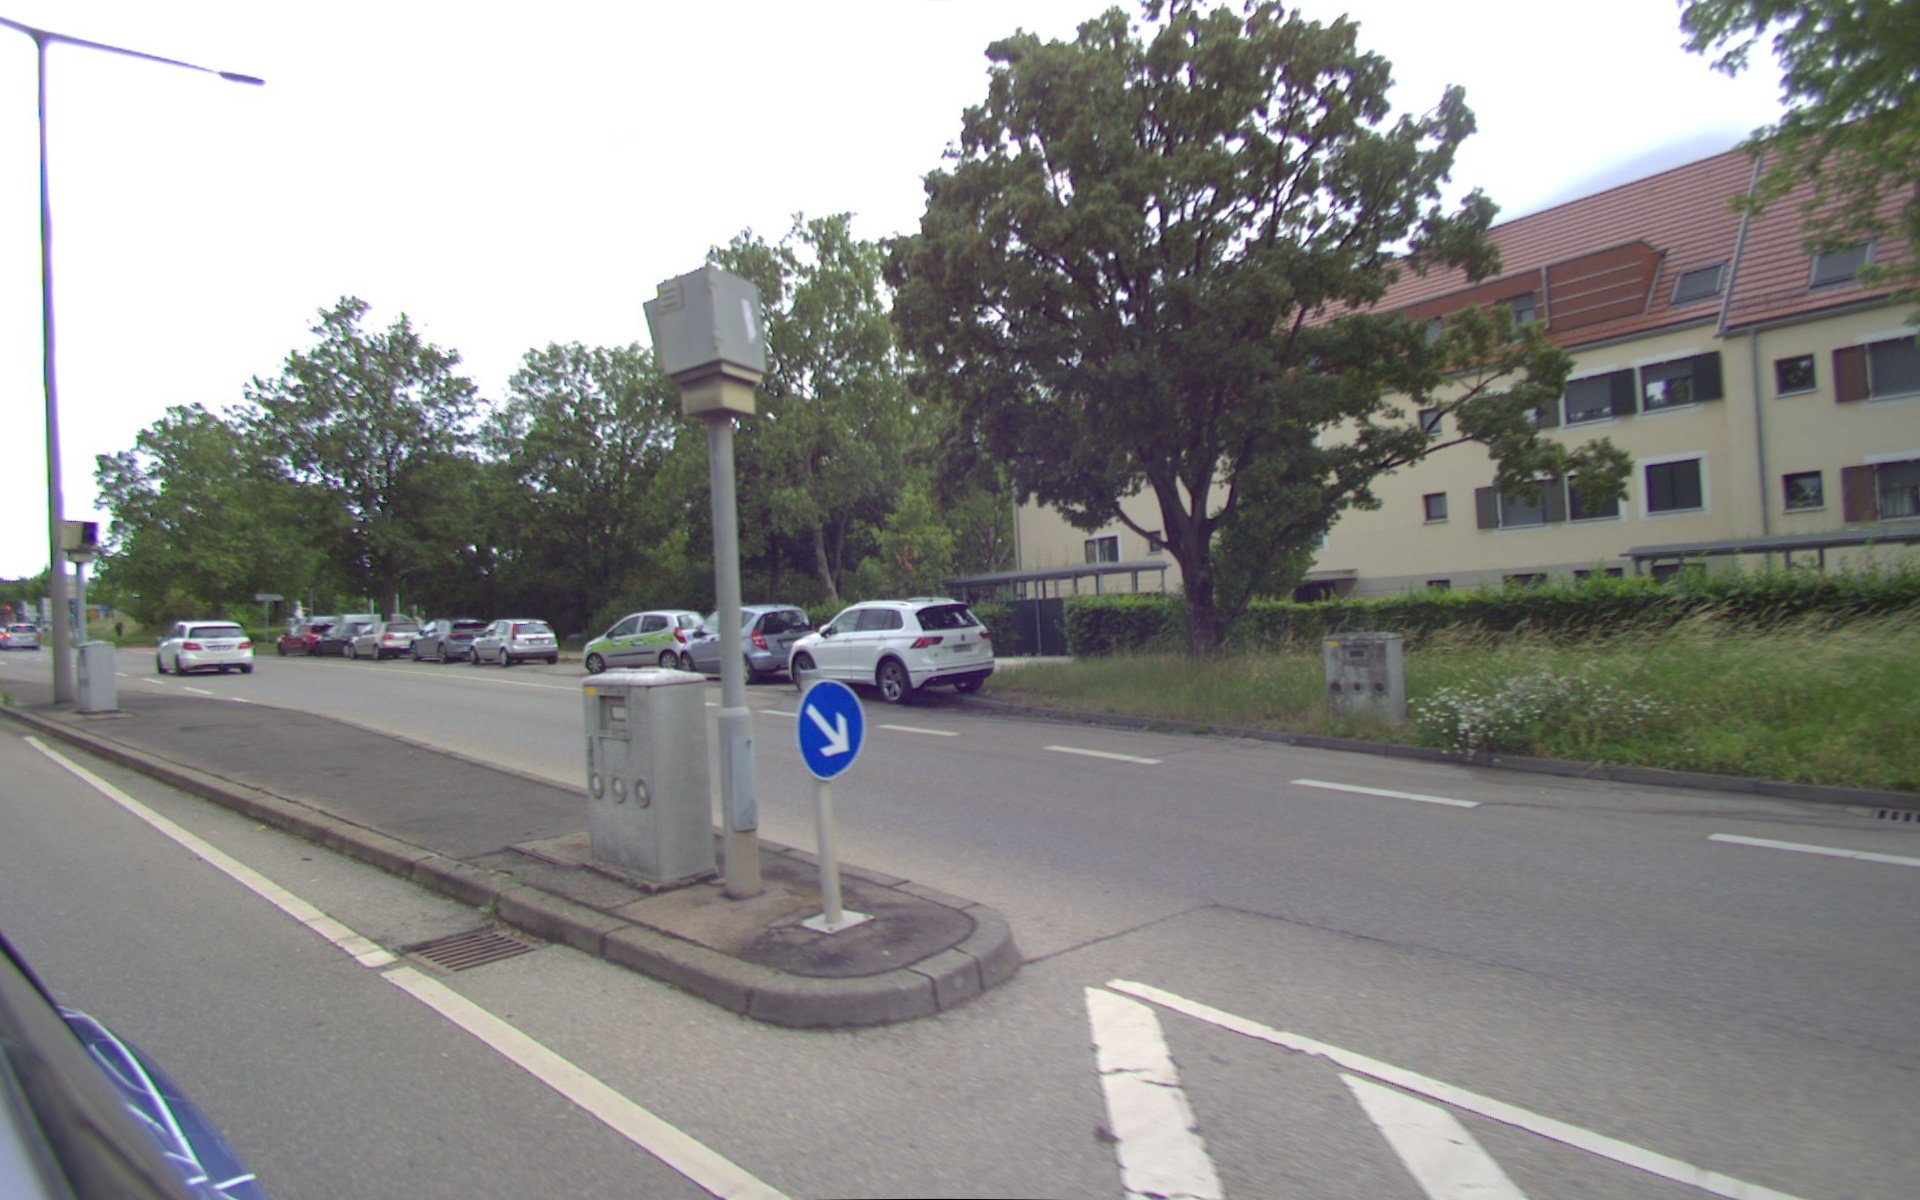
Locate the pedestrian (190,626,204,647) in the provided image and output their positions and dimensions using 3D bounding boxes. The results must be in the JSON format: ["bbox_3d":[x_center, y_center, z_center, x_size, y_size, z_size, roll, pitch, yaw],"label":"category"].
[{"bbox_3d":[-63.948,3.082,84.852,0.637,1.750,0.749,-1,0,33],"label":"pedestrian"}]

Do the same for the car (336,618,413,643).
[{"bbox_3d":[-48.648,2.554,84.182,2.010,2.029,5.230,-1,-2,40],"label":"car"}]

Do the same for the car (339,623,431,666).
[{"bbox_3d":[-22.657,1.720,39.817,4.054,1.518,1.856,-2,0,41],"label":"car"}]

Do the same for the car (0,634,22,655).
[{"bbox_3d":[-68.803,3.207,72.756,4.122,1.498,1.710,-2,-2,42],"label":"car"}]

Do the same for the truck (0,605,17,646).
[{"bbox_3d":[-86.556,2.317,90.668,2.792,3.507,7.828,0,-1,-45],"label":"truck"}]

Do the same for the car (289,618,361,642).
[{"bbox_3d":[-57.349,2.708,91.520,1.738,2.029,5.230,-1,-2,40],"label":"car"}]

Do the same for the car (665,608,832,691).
[{"bbox_3d":[-4.730,1.016,22.294,1.852,1.608,4.006,-1,0,-41],"label":"car"}]

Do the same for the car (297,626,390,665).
[{"bbox_3d":[-26.643,1.936,43.700,3.987,1.518,1.861,-1,0,33],"label":"car"}]

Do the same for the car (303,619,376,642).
[{"bbox_3d":[-54.828,2.692,89.554,1.739,2.029,5.228,-1,-2,41],"label":"car"}]

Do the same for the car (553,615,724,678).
[{"bbox_3d":[-8.326,1.197,26.229,3.974,1.518,1.867,-2,-1,23],"label":"car"}]

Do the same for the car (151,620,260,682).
[{"bbox_3d":[-22.309,1.434,29.870,4.339,1.582,1.855,0,1,43],"label":"car"}]

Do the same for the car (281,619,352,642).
[{"bbox_3d":[-58.980,2.763,92.865,1.738,2.029,5.230,-1,-2,40],"label":"car"}]

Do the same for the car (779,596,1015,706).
[{"bbox_3d":[-1.246,0.845,17.952,1.852,1.679,4.397,-1,-1,-41],"label":"car"}]

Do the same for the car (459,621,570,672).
[{"bbox_3d":[-14.471,1.472,32.787,4.000,1.518,1.855,-2,-1,43],"label":"car"}]

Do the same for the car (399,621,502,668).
[{"bbox_3d":[-18.170,1.581,36.052,3.997,1.518,1.856,-3,-1,41],"label":"car"}]

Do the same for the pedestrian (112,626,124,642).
[{"bbox_3d":[-78.279,3.117,94.049,0.639,1.458,0.747,-1,0,41],"label":"pedestrian"}]

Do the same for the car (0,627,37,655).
[{"bbox_3d":[-64.451,2.805,68.943,4.404,1.783,1.809,-2,0,41],"label":"car"}]

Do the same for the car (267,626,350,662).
[{"bbox_3d":[-29.894,2.029,46.442,3.879,1.518,1.859,-2,0,35],"label":"car"}]
